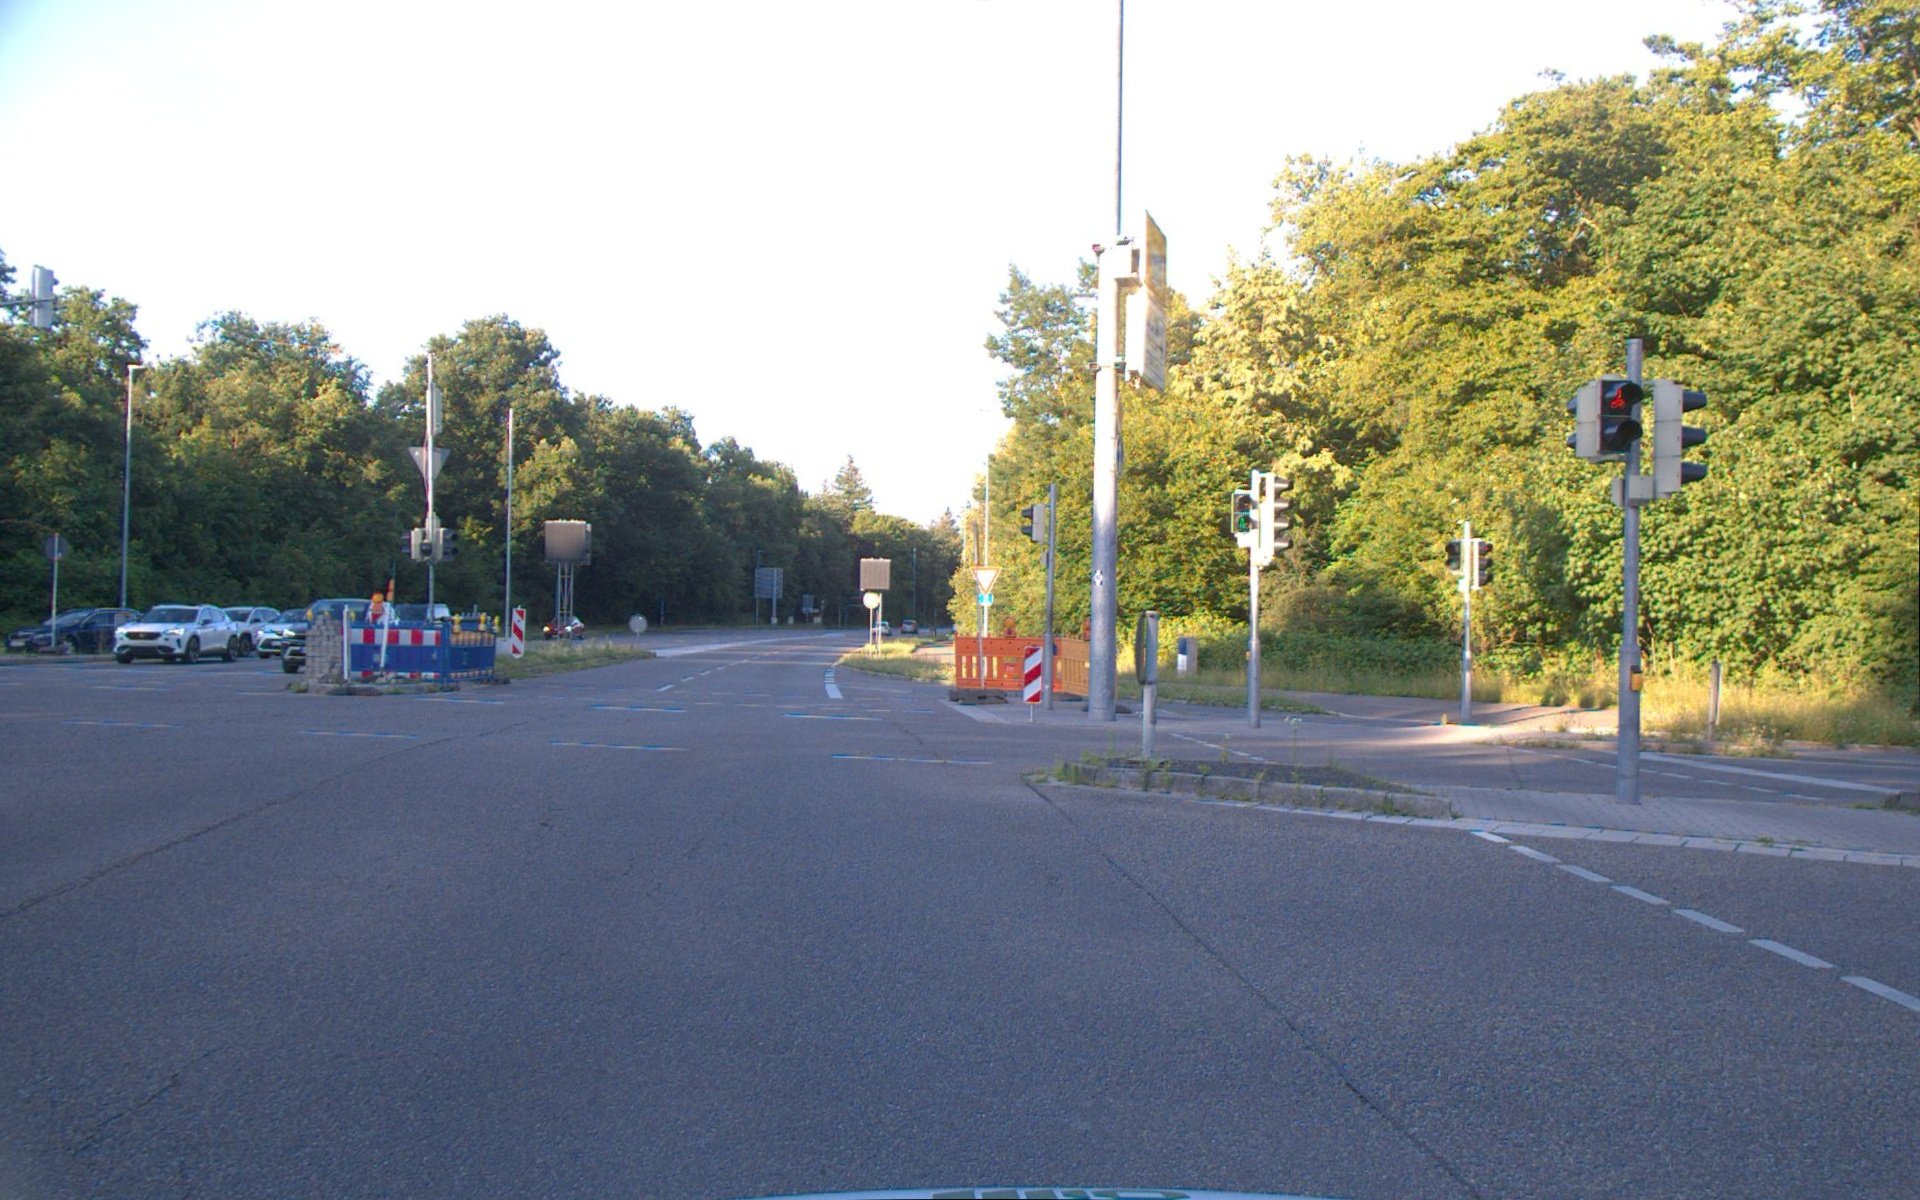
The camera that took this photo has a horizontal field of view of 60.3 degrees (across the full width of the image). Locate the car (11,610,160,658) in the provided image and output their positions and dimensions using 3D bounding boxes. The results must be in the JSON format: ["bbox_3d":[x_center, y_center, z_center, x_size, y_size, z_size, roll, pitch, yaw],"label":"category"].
[{"bbox_3d":[-24.833,0.952,47.100,1.569,1.266,3.648,1,0,20],"label":"car"}]

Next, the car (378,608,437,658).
[{"bbox_3d":[-24.013,1.407,72.022,1.844,2.060,4.222,1,0,-10],"label":"car"}]

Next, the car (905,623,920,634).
[{"bbox_3d":[-5.678,3.362,196.316,1.425,1.266,2.965,1,0,5],"label":"car"}]

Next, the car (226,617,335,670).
[{"bbox_3d":[-20.545,1.284,50.183,1.682,1.481,4.231,1,0,-2],"label":"car"}]

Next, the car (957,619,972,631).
[{"bbox_3d":[0.586,3.423,224.682,1.544,1.561,3.680,1,0,8],"label":"car"}]

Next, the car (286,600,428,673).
[{"bbox_3d":[-13.167,0.764,36.364,1.682,1.481,4.231,1,0,-2],"label":"car"}]

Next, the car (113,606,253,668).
[{"bbox_3d":[-19.826,0.924,42.397,1.682,1.481,4.231,1,0,-2],"label":"car"}]

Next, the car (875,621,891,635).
[{"bbox_3d":[-7.971,2.926,171.935,1.515,1.371,3.114,1,0,1],"label":"car"}]

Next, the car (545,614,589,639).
[{"bbox_3d":[-24.405,1.639,102.852,1.840,1.447,4.231,1,0,-3],"label":"car"}]
